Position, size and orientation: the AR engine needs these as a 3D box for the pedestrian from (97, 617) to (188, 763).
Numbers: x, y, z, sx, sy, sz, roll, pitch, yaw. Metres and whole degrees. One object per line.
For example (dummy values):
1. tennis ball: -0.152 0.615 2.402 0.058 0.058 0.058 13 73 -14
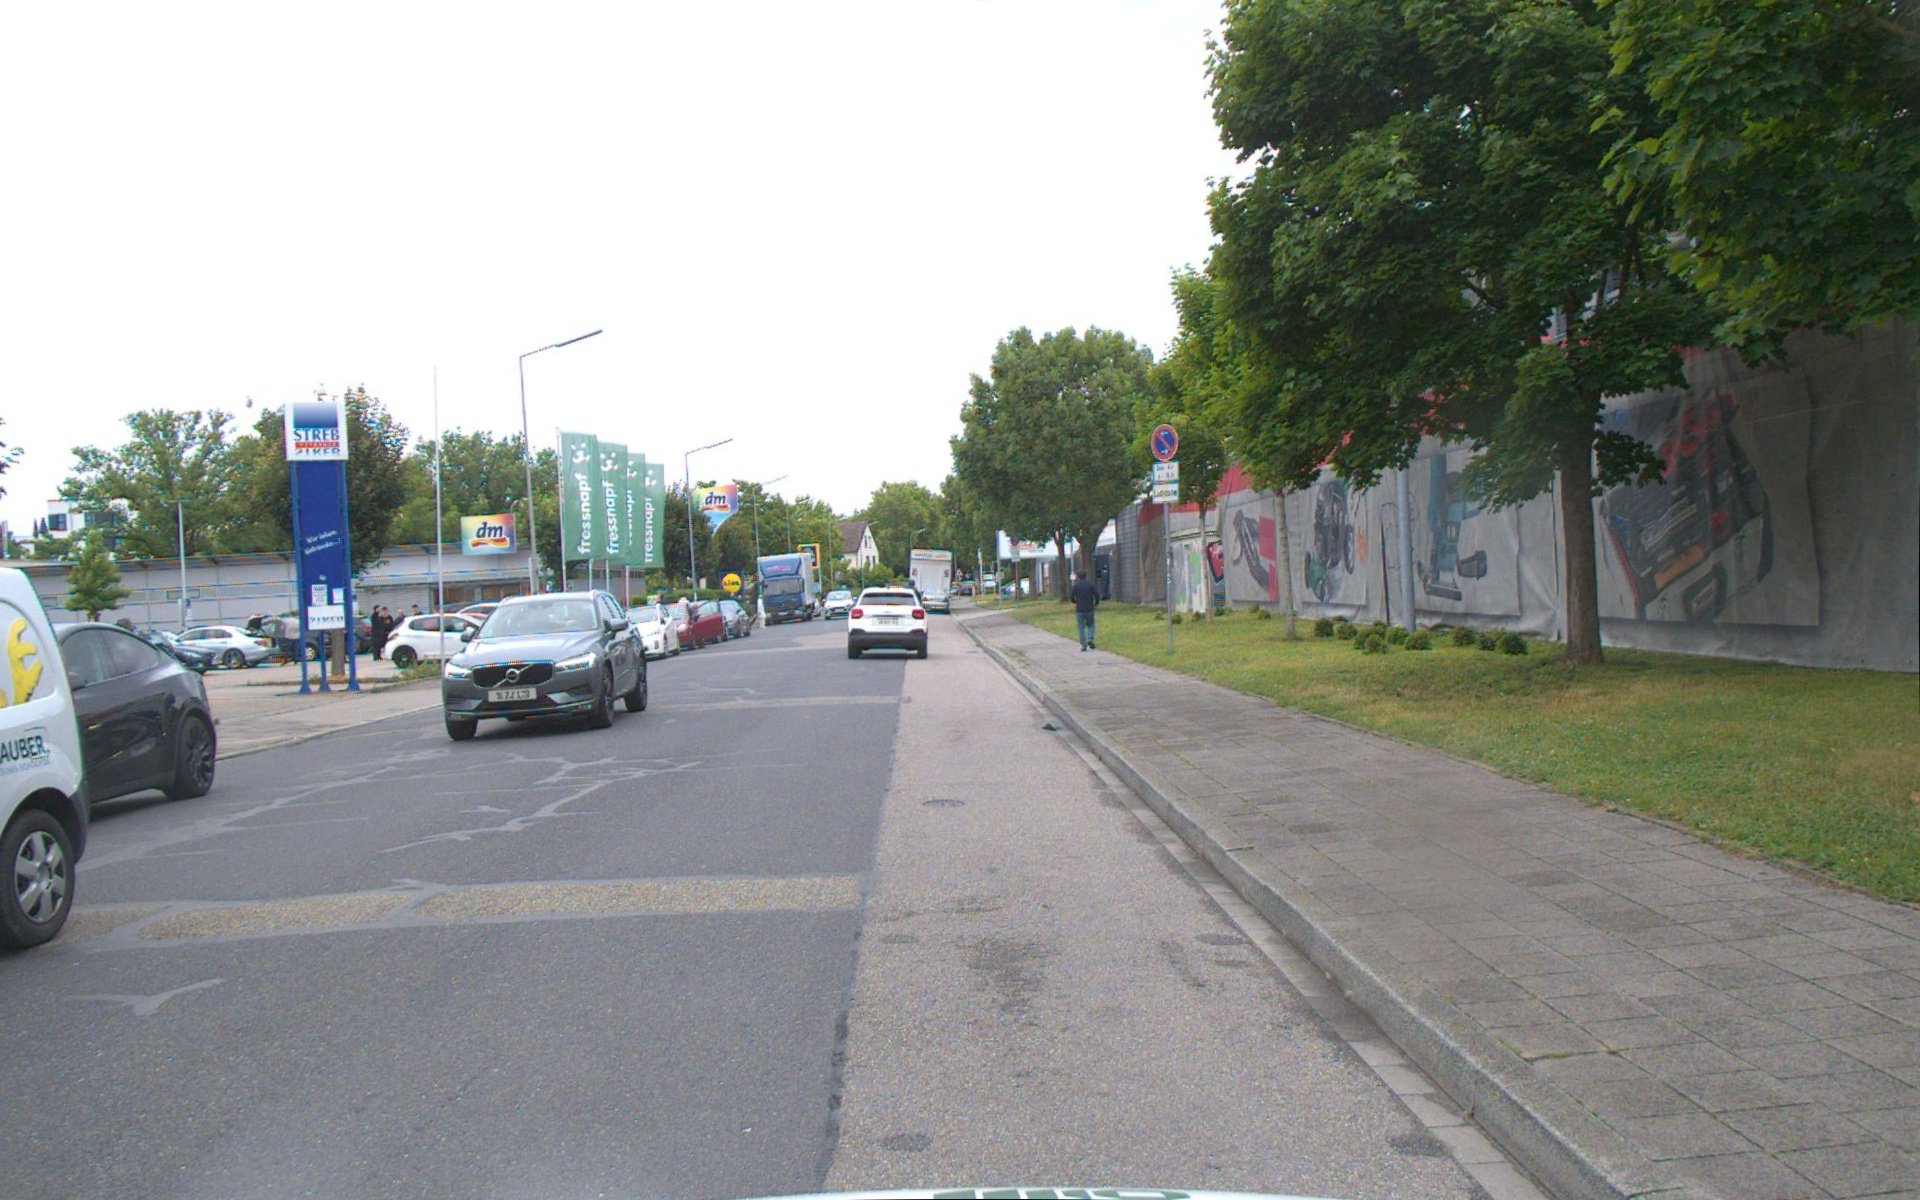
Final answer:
1. pedestrian: -10.164 1.100 20.582 0.760 1.745 0.696 -2 0 -6

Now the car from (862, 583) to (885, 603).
1. car: -7.836 -0.589 150.123 1.954 1.713 3.998 -1 0 -2

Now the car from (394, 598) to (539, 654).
1. car: -15.588 0.799 52.442 4.057 1.488 1.896 -3 0 -7

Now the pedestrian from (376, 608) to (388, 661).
1. pedestrian: -19.473 1.170 55.726 0.258 1.760 0.421 -3 0 -13

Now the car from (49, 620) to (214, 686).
1. car: -24.880 1.582 49.774 3.907 1.698 1.876 -3 0 -1

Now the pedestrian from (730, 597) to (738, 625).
1. pedestrian: -12.782 0.614 93.570 0.394 1.558 0.484 -3 0 -7

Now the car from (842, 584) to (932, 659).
1. car: -1.594 0.449 37.340 1.848 1.558 4.253 -1 0 -1

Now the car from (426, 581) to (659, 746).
1. car: -5.089 0.705 20.798 1.895 1.713 4.492 -4 0 -3

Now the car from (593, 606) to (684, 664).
1. car: -8.802 0.918 45.566 1.860 1.391 3.998 -3 0 -3

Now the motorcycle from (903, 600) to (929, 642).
1. motorcycle: -1.318 0.621 50.058 0.628 1.199 2.114 -3 0 1

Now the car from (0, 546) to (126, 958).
1. car: -5.047 0.749 6.121 1.656 1.791 4.135 -6 1 0

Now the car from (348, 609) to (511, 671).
1. car: -15.168 1.116 47.508 4.126 1.488 1.949 -3 0 -9

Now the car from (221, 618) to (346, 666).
1. car: -25.448 1.573 62.313 3.906 1.518 1.786 -3 0 -1

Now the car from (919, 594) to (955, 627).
1. car: -1.381 0.594 96.563 1.954 1.837 3.998 -1 0 -2

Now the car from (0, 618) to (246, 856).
1. car: -7.583 1.074 13.041 1.908 1.552 4.401 -7 0 -1

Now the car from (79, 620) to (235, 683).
1. car: -25.313 1.615 52.236 3.907 1.698 1.876 -3 0 -1

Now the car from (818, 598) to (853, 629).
1. car: -6.738 0.743 89.559 1.569 1.554 3.521 -4 0 -8

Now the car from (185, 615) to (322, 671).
1. car: -24.895 1.498 58.374 3.907 1.698 1.876 -3 0 -1

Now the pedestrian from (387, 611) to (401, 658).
1. pedestrian: -19.171 1.166 56.058 0.324 1.597 0.502 -3 0 -15

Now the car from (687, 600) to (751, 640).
1. car: -9.196 0.738 63.398 1.860 1.391 3.999 -3 0 -1

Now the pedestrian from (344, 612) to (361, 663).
1. pedestrian: -20.373 1.263 55.474 0.448 1.670 0.372 -3 0 -19

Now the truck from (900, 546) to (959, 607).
1. truck: -2.039 -1.405 105.688 3.074 3.647 10.040 -1 0 -5

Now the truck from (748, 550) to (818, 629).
1. truck: -9.672 -0.588 91.028 2.914 4.024 6.404 -4 0 -1

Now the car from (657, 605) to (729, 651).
1. car: -9.254 0.938 57.509 1.860 1.391 3.999 -3 0 -1

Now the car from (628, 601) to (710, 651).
1. car: -9.110 0.788 52.019 1.860 1.391 3.999 -3 0 -1

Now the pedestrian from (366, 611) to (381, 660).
1. pedestrian: -19.562 1.174 55.130 0.353 1.597 0.502 -3 0 -15

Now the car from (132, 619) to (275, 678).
1. car: -25.532 1.606 55.916 3.907 1.698 1.876 -3 0 -1

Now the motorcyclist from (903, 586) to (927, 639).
1. motorcyclist: -1.366 0.378 50.106 0.612 1.581 0.604 -3 0 1

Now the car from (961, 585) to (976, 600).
1. car: 1.023 -0.922 200.677 1.848 1.713 4.253 -1 0 -1

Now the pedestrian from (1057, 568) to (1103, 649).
1. pedestrian: 2.538 0.178 35.066 0.900 1.663 0.853 -1 0 1
